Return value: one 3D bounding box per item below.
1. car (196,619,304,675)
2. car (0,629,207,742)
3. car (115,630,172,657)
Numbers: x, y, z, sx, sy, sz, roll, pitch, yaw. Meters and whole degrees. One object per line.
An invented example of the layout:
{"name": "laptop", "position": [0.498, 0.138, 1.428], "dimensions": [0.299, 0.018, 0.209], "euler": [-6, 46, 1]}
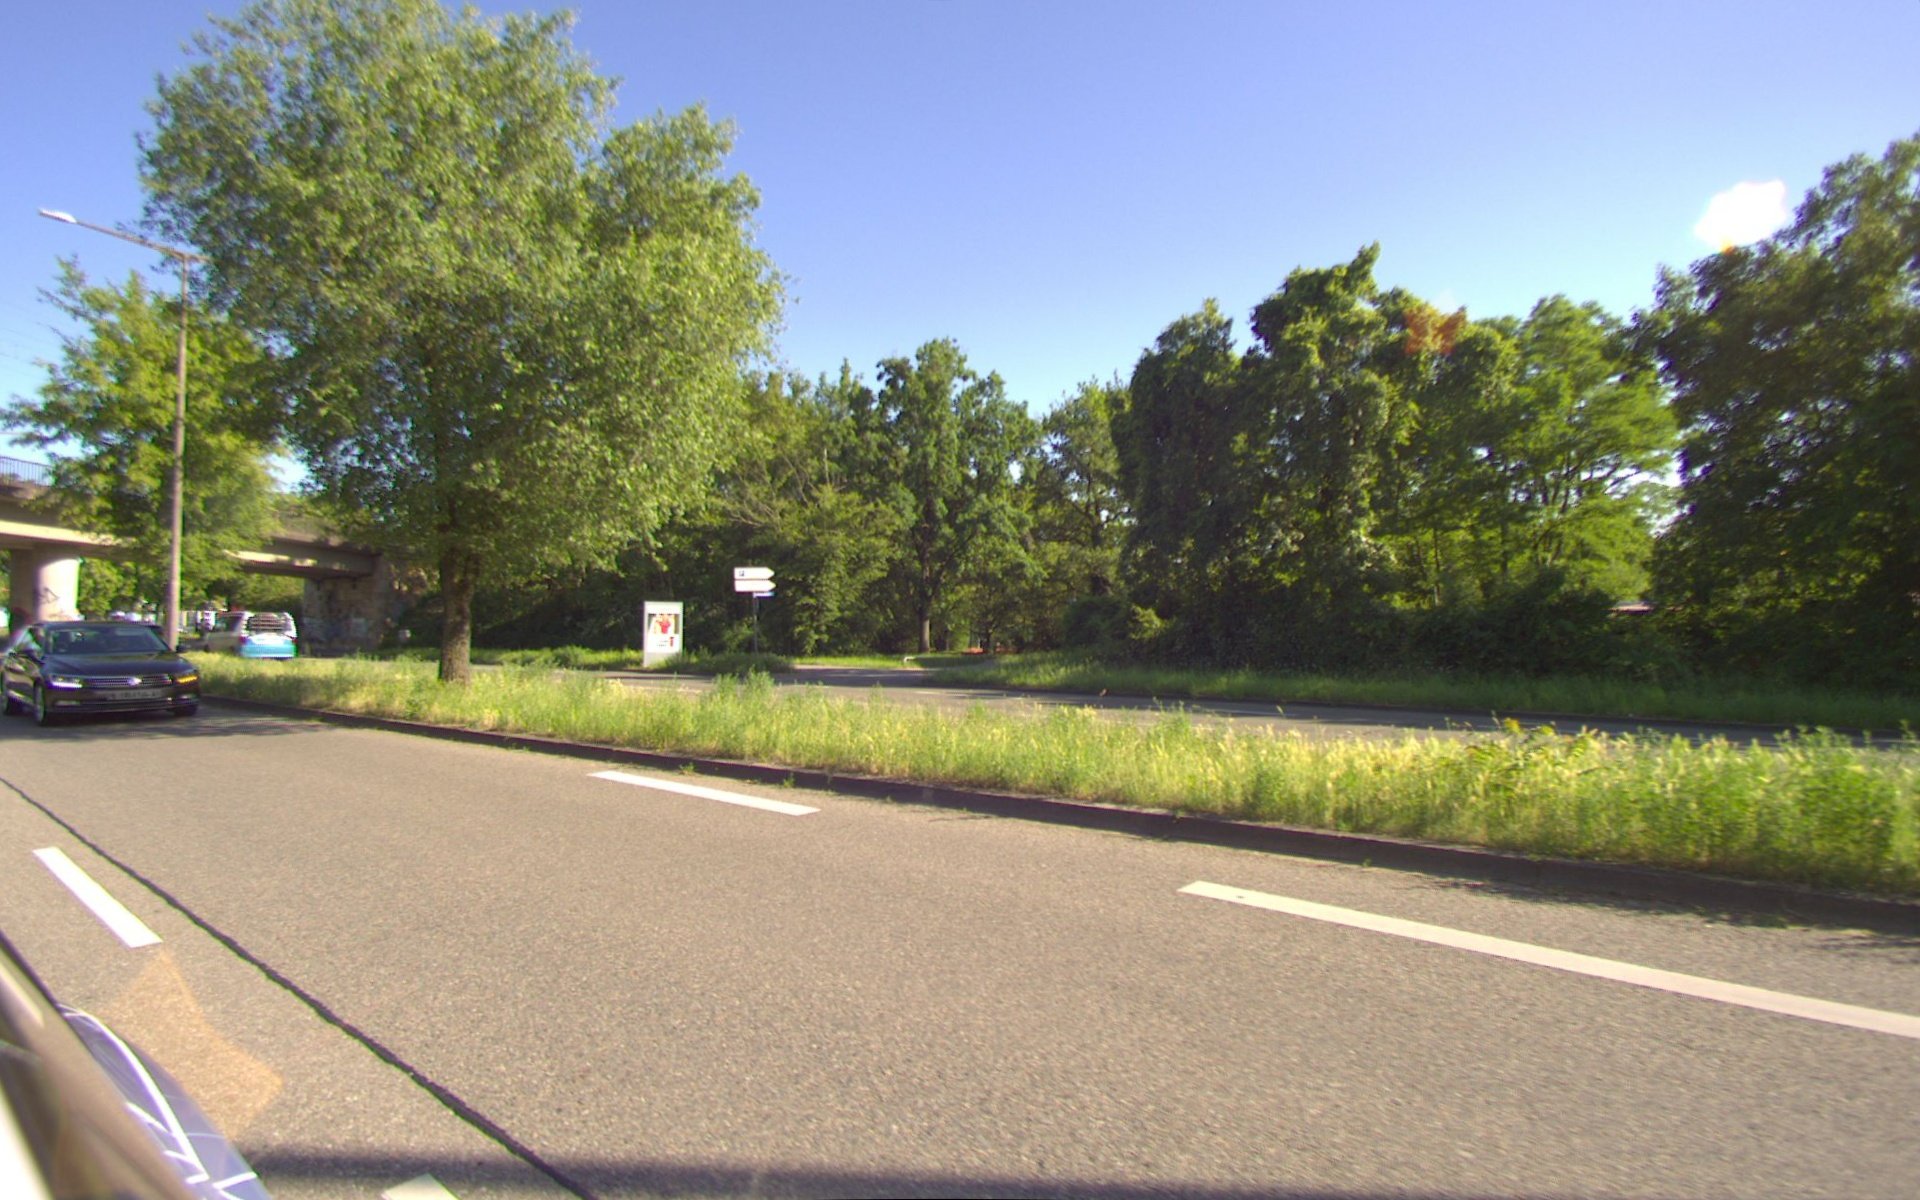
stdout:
{"name": "car", "position": [-26.684, 1.698, 37.948], "dimensions": [5.240, 1.944, 1.973], "euler": [-1, -2, 40]}
{"name": "car", "position": [-13.081, 1.172, 15.282], "dimensions": [4.262, 1.464, 1.825], "euler": [-1, -2, 40]}
{"name": "car", "position": [-50.543, 2.675, 62.622], "dimensions": [4.589, 1.564, 1.962], "euler": [-1, -1, 41]}
